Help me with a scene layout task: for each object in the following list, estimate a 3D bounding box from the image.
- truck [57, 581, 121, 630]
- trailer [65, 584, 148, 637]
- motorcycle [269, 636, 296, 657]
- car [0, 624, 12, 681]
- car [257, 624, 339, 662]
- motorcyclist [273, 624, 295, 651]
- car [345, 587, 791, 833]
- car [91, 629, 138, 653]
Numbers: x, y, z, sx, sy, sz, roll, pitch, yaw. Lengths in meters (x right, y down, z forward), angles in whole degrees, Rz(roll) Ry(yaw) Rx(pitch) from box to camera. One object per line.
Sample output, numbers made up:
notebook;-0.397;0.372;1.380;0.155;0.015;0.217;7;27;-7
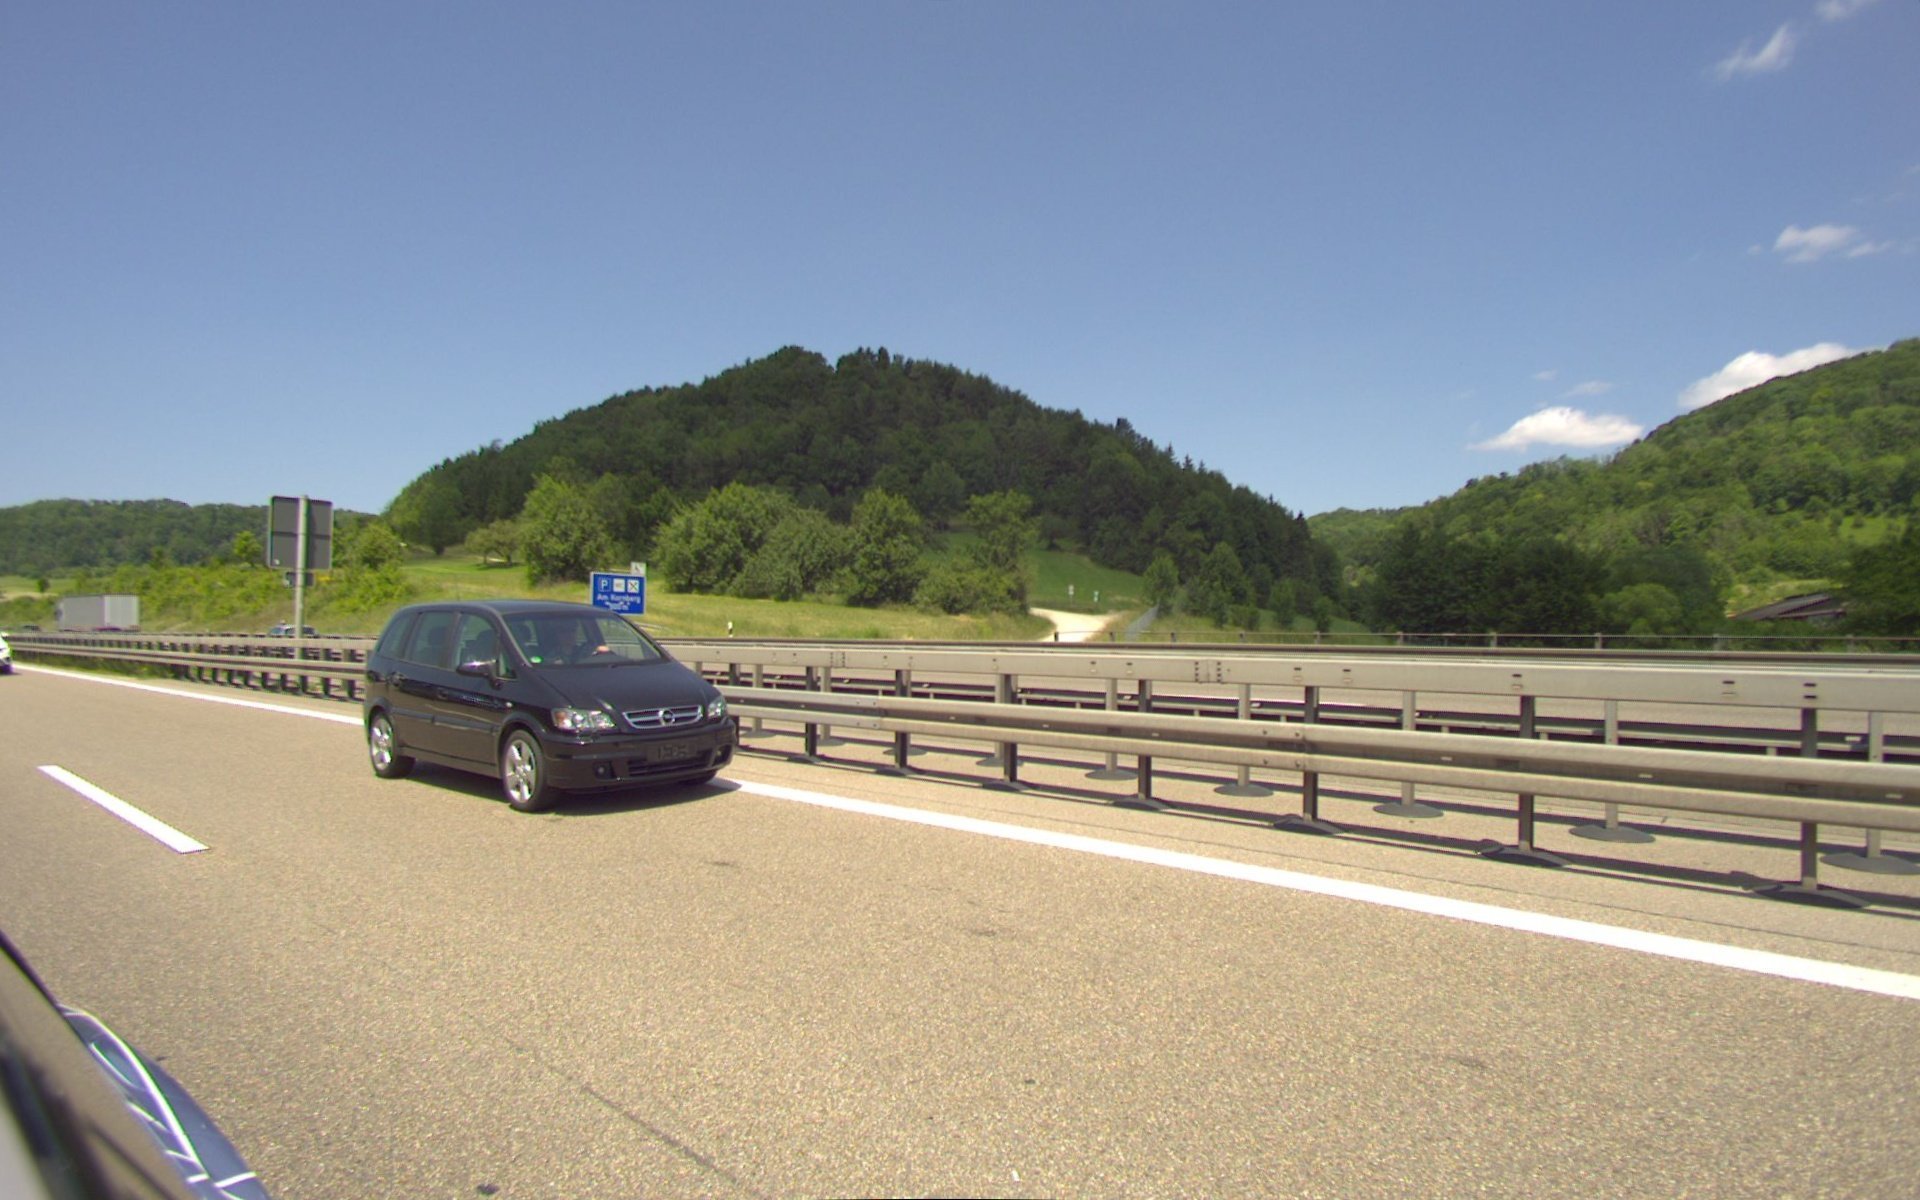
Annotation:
truck;-78.078;0.518;90.707;6.949;4.179;3.245;-1;-1;40
trailer;-73.319;0.924;86.747;12.988;4.236;3.215;-1;0;40
motorcycle;-38.564;2.646;57.603;2.128;1.158;0.710;-2;-2;40
car;-29.408;1.527;29.682;3.998;1.634;1.973;-1;-1;41
car;-29.111;1.854;44.464;3.997;1.508;1.973;-1;-1;41
motorcyclist;-38.446;2.130;57.515;0.838;1.512;0.836;-2;-2;39
car;-3.620;0.793;8.916;4.443;1.647;1.782;-2;-2;40
car;-59.031;2.856;70.632;4.352;1.630;1.850;-2;-2;41
